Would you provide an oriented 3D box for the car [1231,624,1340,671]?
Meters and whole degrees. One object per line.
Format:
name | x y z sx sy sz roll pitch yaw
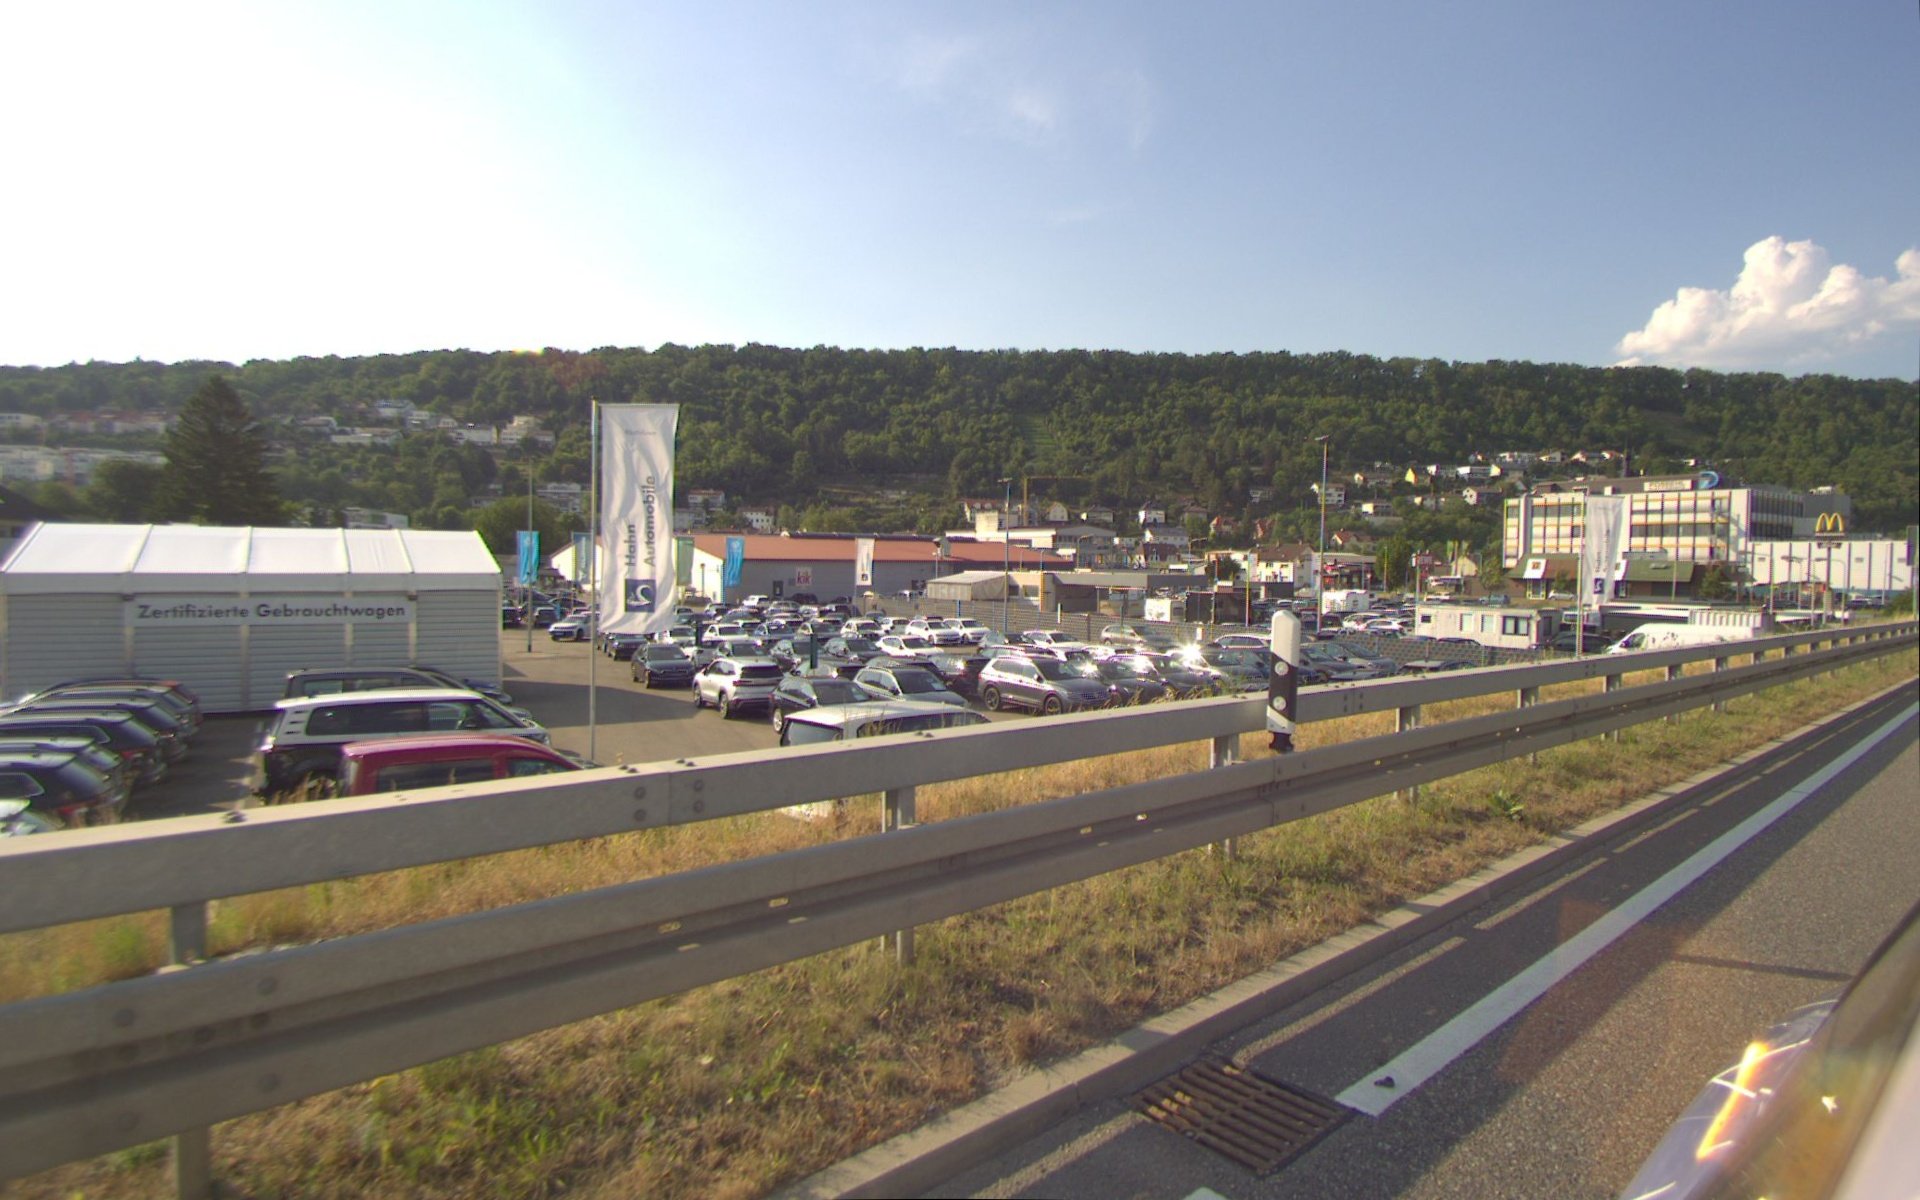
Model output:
car | 14.076 2.015 44.015 1.766 1.735 4.435 0 1 -33

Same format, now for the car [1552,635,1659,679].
car | 33.184 2.906 52.178 4.533 2.039 1.881 0 0 30

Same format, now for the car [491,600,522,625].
car | -33.656 0.895 75.125 1.958 1.738 4.008 1 0 -23

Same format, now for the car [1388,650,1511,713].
car | 15.263 2.464 31.458 4.354 1.563 1.798 -1 0 -40

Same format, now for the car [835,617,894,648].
car | -5.427 1.804 57.001 1.764 1.563 4.351 0 1 -29

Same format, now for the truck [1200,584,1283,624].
truck | 18.056 0.214 64.769 5.860 2.400 1.999 -1 0 -38

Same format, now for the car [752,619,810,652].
car | -9.671 1.897 54.477 1.764 1.563 4.351 0 1 -29

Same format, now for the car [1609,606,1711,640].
car | 39.597 1.264 57.311 2.092 1.772 4.332 -1 1 -38

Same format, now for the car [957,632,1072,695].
car | 1.877 2.196 36.146 1.767 1.723 4.435 -5 4 -33

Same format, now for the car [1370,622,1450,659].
car | 24.101 2.129 54.161 4.412 1.722 1.972 -1 0 -35

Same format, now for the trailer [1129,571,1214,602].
trailer | 14.436 -0.933 68.832 6.166 2.048 2.000 -1 0 -36

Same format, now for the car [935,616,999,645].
car | 0.376 1.818 60.764 1.766 1.563 4.347 -1 1 -33

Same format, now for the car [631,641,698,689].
car | -11.128 2.391 37.946 1.677 1.482 4.005 0 0 -28

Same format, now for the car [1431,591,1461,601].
car | 70.620 -0.528 147.135 1.658 1.438 3.653 -1 1 -35

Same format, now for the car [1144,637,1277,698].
car | 8.508 2.243 34.716 1.766 1.735 4.435 0 0 -33

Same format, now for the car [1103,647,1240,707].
car | 6.779 2.435 32.938 1.766 1.563 4.435 -1 1 -33

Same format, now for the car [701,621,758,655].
car | -12.150 1.967 53.170 1.764 1.563 4.351 0 1 -29

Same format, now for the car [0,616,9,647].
car | -52.488 1.684 52.860 3.700 1.597 1.756 0 0 -18

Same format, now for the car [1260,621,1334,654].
car | 18.184 1.982 54.492 4.204 1.614 1.602 -1 0 -35

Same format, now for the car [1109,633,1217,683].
car | 8.287 2.332 41.631 1.766 1.735 4.435 0 0 -33

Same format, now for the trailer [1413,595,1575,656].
trailer | 31.555 1.384 60.103 3.295 3.364 7.903 0 0 -36

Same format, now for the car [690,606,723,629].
car | -20.111 1.382 80.286 1.958 1.738 4.008 1 0 -23

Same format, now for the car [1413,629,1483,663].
car | 25.273 2.366 52.346 3.793 1.530 1.602 -1 0 -35

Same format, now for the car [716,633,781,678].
car | -9.522 2.450 45.365 1.746 1.749 4.004 0 0 -29

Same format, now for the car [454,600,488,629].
car | -35.890 1.049 74.317 1.958 2.039 4.008 1 0 -23

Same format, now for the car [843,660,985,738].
car | -1.319 2.534 26.808 1.765 1.628 4.435 1 -1 -33

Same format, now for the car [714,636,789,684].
car | -8.226 2.292 39.669 1.746 1.584 4.004 0 0 -29

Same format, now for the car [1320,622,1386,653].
car | 22.053 2.086 56.749 3.817 1.583 1.602 -1 0 -35

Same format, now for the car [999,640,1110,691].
car | 3.419 2.378 37.555 1.766 1.563 4.435 -1 1 -33

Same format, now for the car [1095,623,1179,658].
car | 9.148 2.061 52.496 1.766 1.563 4.435 -1 1 -33

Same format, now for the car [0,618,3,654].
car | -44.532 1.624 44.094 3.700 1.597 1.756 0 0 -18

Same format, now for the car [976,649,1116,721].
car | 2.458 2.433 29.953 1.806 1.688 4.435 0 0 -33

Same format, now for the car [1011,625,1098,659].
car | 4.428 1.953 48.070 1.766 1.386 4.435 -1 1 -33

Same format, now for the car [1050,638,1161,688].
car | 5.534 2.373 38.986 1.766 1.563 4.435 -1 1 -33

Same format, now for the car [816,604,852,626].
car | -10.614 1.247 84.998 1.958 1.738 4.008 1 0 -23

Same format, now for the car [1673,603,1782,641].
car | 38.208 1.037 50.464 1.867 1.772 3.996 -1 0 -38

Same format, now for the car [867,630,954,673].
car | -2.202 2.189 43.856 1.766 1.563 4.435 -1 1 -33

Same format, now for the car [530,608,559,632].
car | -31.209 1.482 76.026 1.958 1.738 4.008 1 0 -23

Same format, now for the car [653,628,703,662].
car | -14.509 2.272 51.919 1.677 1.482 4.005 0 0 -28

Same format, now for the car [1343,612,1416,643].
car | 27.007 1.737 65.295 1.772 1.677 4.000 0 3 -37

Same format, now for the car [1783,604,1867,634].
car | 57.141 1.231 66.892 1.802 1.839 3.996 -1 0 -39

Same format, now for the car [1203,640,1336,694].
car | 10.891 2.318 35.867 1.766 1.563 4.435 -1 1 -33

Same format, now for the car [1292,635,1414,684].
car | 14.769 2.188 38.178 1.754 1.563 3.984 -1 1 -37

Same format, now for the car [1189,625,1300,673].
car | 11.865 1.993 42.486 1.766 1.735 4.435 0 0 -33

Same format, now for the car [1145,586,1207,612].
car | 13.394 -0.057 62.712 3.817 1.563 1.602 -1 0 -36

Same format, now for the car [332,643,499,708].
car | -15.184 2.050 28.288 3.924 1.482 1.960 -1 0 -35
